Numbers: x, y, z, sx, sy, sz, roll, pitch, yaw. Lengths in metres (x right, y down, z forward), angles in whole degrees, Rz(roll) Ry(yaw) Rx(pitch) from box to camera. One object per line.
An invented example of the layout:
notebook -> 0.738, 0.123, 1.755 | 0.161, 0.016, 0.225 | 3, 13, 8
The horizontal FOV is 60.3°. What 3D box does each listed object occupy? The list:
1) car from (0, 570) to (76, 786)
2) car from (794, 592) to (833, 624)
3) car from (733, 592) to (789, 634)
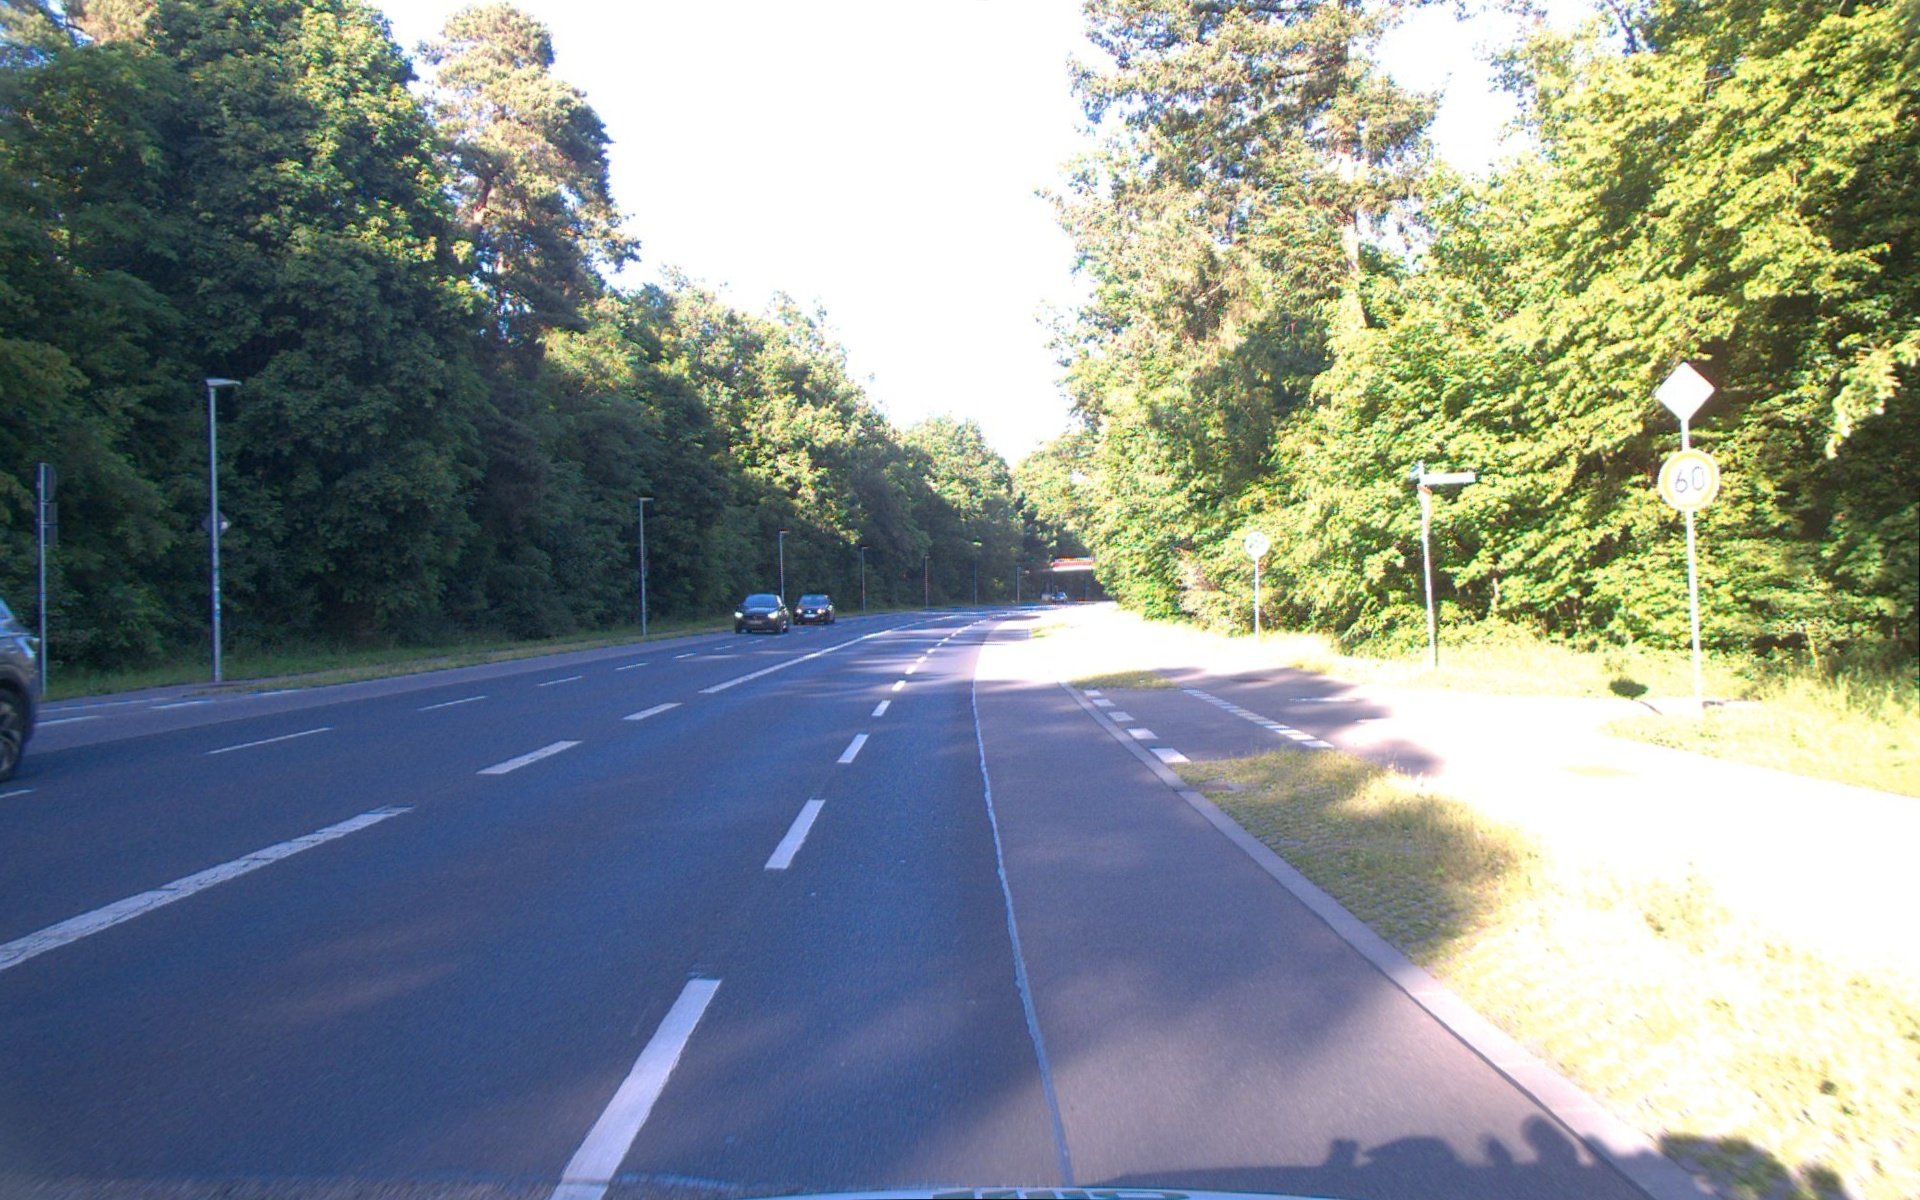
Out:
car -> -8.178, 0.570, 11.350 | 1.857, 1.639, 4.448 | 2, 0, -1
car -> -7.178, 0.364, 81.455 | 1.623, 1.506, 4.171 | 0, 0, -1
car -> -7.598, 0.482, 63.423 | 1.703, 1.483, 3.998 | 2, 0, -1
